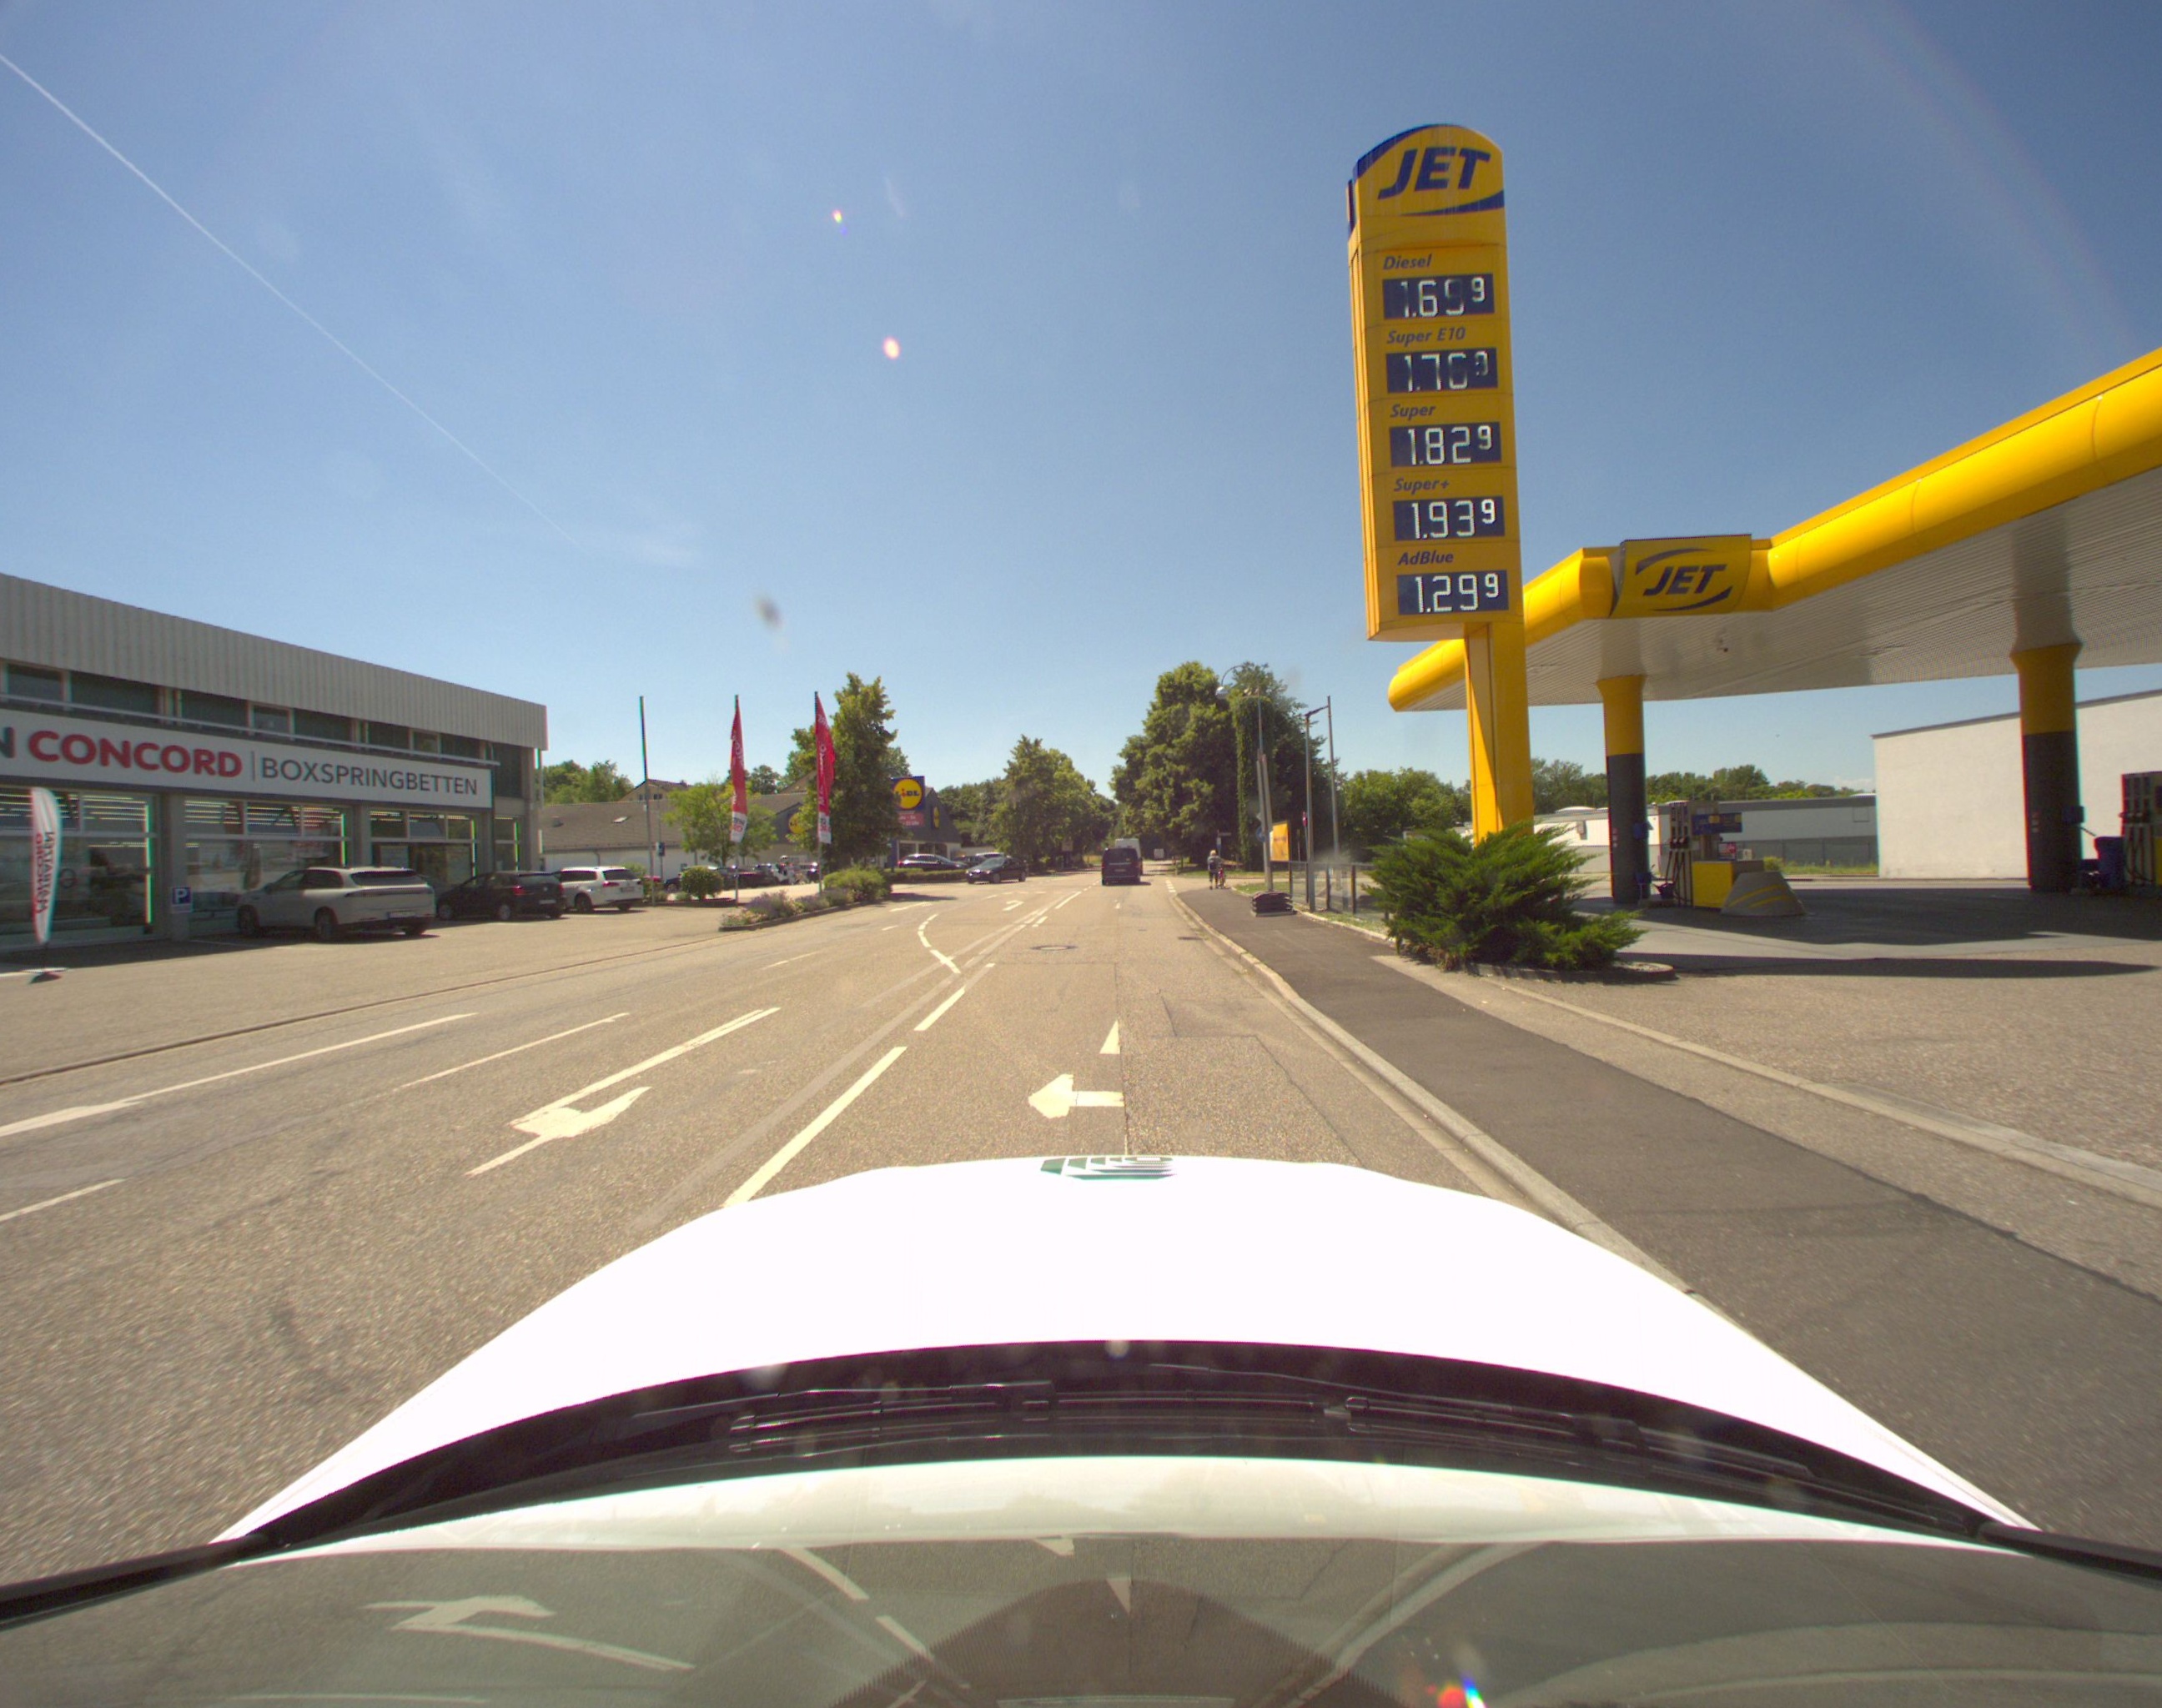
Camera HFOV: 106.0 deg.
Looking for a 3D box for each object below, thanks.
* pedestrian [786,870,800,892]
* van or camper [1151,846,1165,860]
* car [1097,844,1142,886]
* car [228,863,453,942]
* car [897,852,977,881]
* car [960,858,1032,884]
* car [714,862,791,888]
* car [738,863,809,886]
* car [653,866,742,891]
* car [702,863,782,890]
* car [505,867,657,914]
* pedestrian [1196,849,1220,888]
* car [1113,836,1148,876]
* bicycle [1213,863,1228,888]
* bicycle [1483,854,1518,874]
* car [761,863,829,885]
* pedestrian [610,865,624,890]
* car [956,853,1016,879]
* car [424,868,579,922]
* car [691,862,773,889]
[{"bbox_3d":[-19.444,1.795,54.952,0.891,1.483,0.803,0,-1,-19],"label":"pedestrian"},{"bbox_3d":[16.593,-0.184,174.891,2.622,2.929,5.208,0,-1,1],"label":"van or camper"},{"bbox_3d":[2.029,0.542,41.339,1.984,1.952,5.013,0,0,6],"label":"car"},{"bbox_3d":[-17.416,1.089,19.182,4.493,1.664,2.010,-1,0,19],"label":"car"},{"bbox_3d":[-9.331,0.813,53.040,4.680,1.762,2.104,-1,-1,9],"label":"car"},{"bbox_3d":[-4.825,0.958,46.822,1.915,1.400,4.716,-1,-1,25],"label":"car"},{"bbox_3d":[-22.188,1.383,55.086,4.296,1.655,2.114,-1,-1,1],"label":"car"},{"bbox_3d":[-21.644,1.434,57.432,4.296,1.530,1.828,-1,-1,1],"label":"car"},{"bbox_3d":[-22.107,1.400,47.063,4.226,1.369,1.767,-1,-1,-4],"label":"car"},{"bbox_3d":[-21.721,1.407,52.277,4.303,1.606,1.910,-1,-1,-4],"label":"car"},{"bbox_3d":[-16.521,1.196,26.954,4.151,1.446,1.988,-1,0,17],"label":"car"},{"bbox_3d":[4.753,0.550,30.523,0.763,1.421,0.871,-1,0,15],"label":"pedestrian"},{"bbox_3d":[3.547,0.167,57.557,2.066,2.702,4.676,0,0,8],"label":"car"},{"bbox_3d":[5.188,0.786,30.291,0.375,0.912,1.605,-1,0,16],"label":"bicycle"},{"bbox_3d":[23.645,0.569,45.890,1.684,1.097,0.468,-1,-1,7],"label":"bicycle"},{"bbox_3d":[-20.897,1.478,59.575,4.296,1.530,1.828,-1,-1,1],"label":"car"},{"bbox_3d":[-33.667,1.683,59.077,0.756,1.806,0.764,0,-1,-35],"label":"pedestrian"},{"bbox_3d":[-7.308,0.929,63.176,4.339,1.980,1.906,-1,-1,2],"label":"car"},{"bbox_3d":[-17.158,1.192,24.167,3.595,1.474,2.010,-1,0,19],"label":"car"},{"bbox_3d":[-21.210,1.299,49.592,4.226,1.589,1.767,-1,-1,-4],"label":"car"}]
